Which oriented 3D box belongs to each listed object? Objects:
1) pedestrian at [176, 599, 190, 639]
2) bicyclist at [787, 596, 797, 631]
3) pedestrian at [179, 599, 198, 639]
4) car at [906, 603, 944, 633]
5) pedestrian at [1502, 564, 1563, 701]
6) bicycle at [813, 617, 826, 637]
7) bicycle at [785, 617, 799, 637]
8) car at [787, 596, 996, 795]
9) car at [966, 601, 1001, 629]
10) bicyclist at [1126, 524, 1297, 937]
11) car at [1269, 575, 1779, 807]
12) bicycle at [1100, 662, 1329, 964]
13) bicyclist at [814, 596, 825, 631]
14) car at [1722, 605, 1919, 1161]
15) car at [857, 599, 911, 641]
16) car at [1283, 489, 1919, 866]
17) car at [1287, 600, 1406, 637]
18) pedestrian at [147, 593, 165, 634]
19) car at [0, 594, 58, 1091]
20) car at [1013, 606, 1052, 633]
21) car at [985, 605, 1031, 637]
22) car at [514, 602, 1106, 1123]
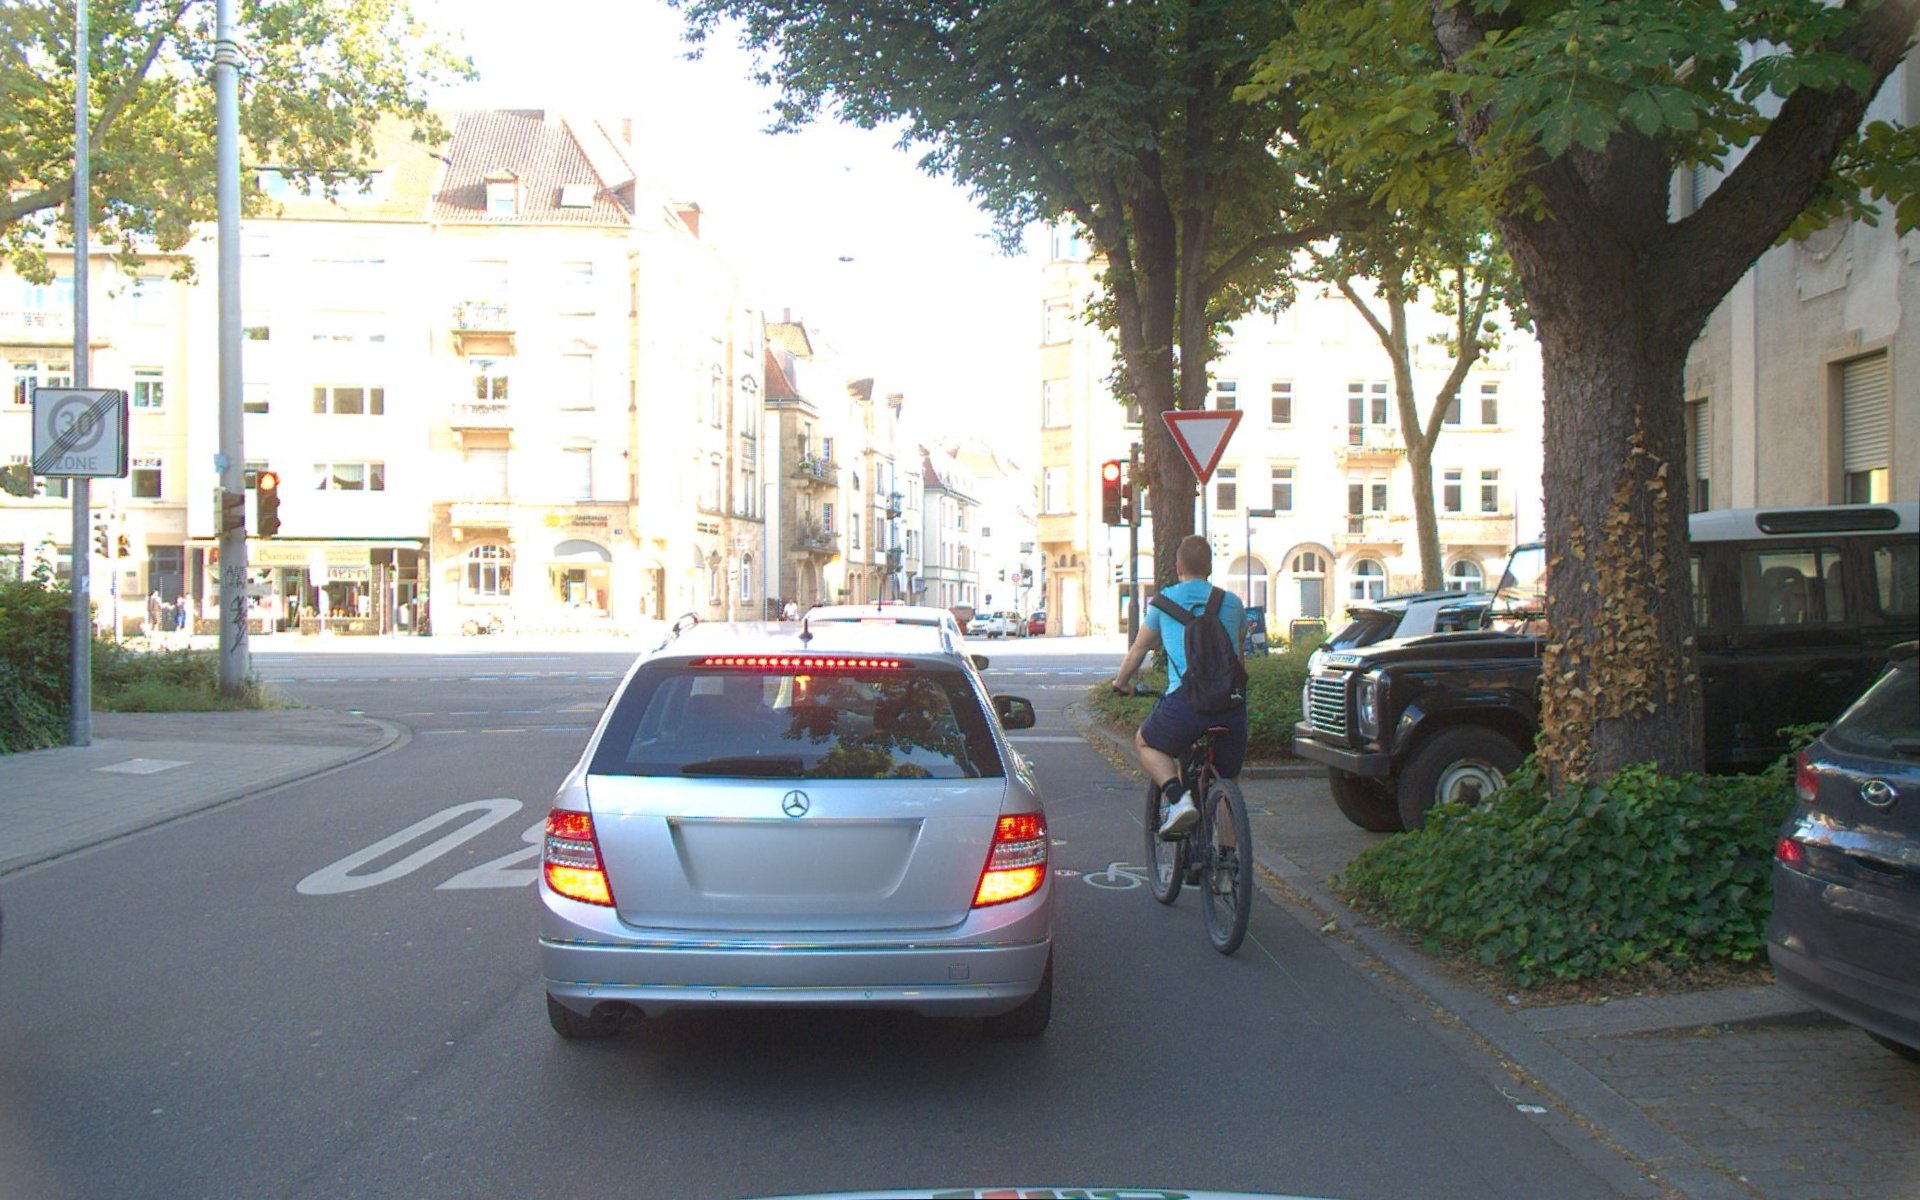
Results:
[{"bbox_3d":[-29.736,0.722,63.297,0.466,1.537,0.428,0,0,-21],"label":"pedestrian"},{"bbox_3d":[-7.436,0.581,73.210,0.457,1.541,0.655,0,0,-4],"label":"bicyclist"},{"bbox_3d":[-29.881,0.725,64.040,0.498,1.537,0.536,0,0,-5],"label":"pedestrian"},{"bbox_3d":[-2.119,1.101,102.377,1.615,1.814,3.866,0,-1,10],"label":"car"},{"bbox_3d":[7.954,0.444,23.000,0.619,1.877,0.574,0,0,-5],"label":"pedestrian"},{"bbox_3d":[-6.207,1.177,73.116,0.557,0.849,1.564,0,0,-4],"label":"bicycle"},{"bbox_3d":[-7.444,1.184,73.228,0.557,0.849,1.564,0,0,-4],"label":"bicycle"},{"bbox_3d":[-0.564,0.685,13.739,1.502,1.415,3.597,0,0,-2],"label":"car"},{"bbox_3d":[1.546,0.944,107.286,1.650,1.753,4.003,0,0,10],"label":"car"},{"bbox_3d":[1.148,0.576,7.685,0.633,1.806,0.830,1,-1,-1],"label":"bicyclist"},{"bbox_3d":[4.374,0.657,13.113,3.415,1.614,1.708,-1,0,-7],"label":"car"},{"bbox_3d":[1.127,0.910,7.775,0.727,1.137,2.013,1,0,-1],"label":"bicycle"},{"bbox_3d":[-6.216,0.589,73.211,0.457,1.547,0.693,0,0,-4],"label":"bicyclist"},{"bbox_3d":[4.320,0.686,4.552,3.675,1.446,1.627,-2,-1,-4],"label":"car"},{"bbox_3d":[-3.647,0.939,79.704,1.896,1.993,4.153,0,0,7],"label":"car"},{"bbox_3d":[4.420,0.399,10.237,4.402,1.990,1.791,-2,0,-4],"label":"car"},{"bbox_3d":[11.738,0.556,50.385,3.296,1.087,1.380,0,0,-2],"label":"car"},{"bbox_3d":[-30.470,0.523,62.722,0.557,1.537,0.499,0,0,-20],"label":"pedestrian"},{"bbox_3d":[-3.663,0.771,3.601,1.584,1.528,3.589,-2,0,-4],"label":"car"},{"bbox_3d":[4.481,1.189,102.119,1.684,1.503,4.004,-4,0,11],"label":"car"},{"bbox_3d":[2.537,1.051,85.900,1.684,1.504,4.004,-2,0,11],"label":"car"},{"bbox_3d":[-0.517,0.759,6.460,1.657,1.454,3.490,1,0,-3],"label":"car"}]
